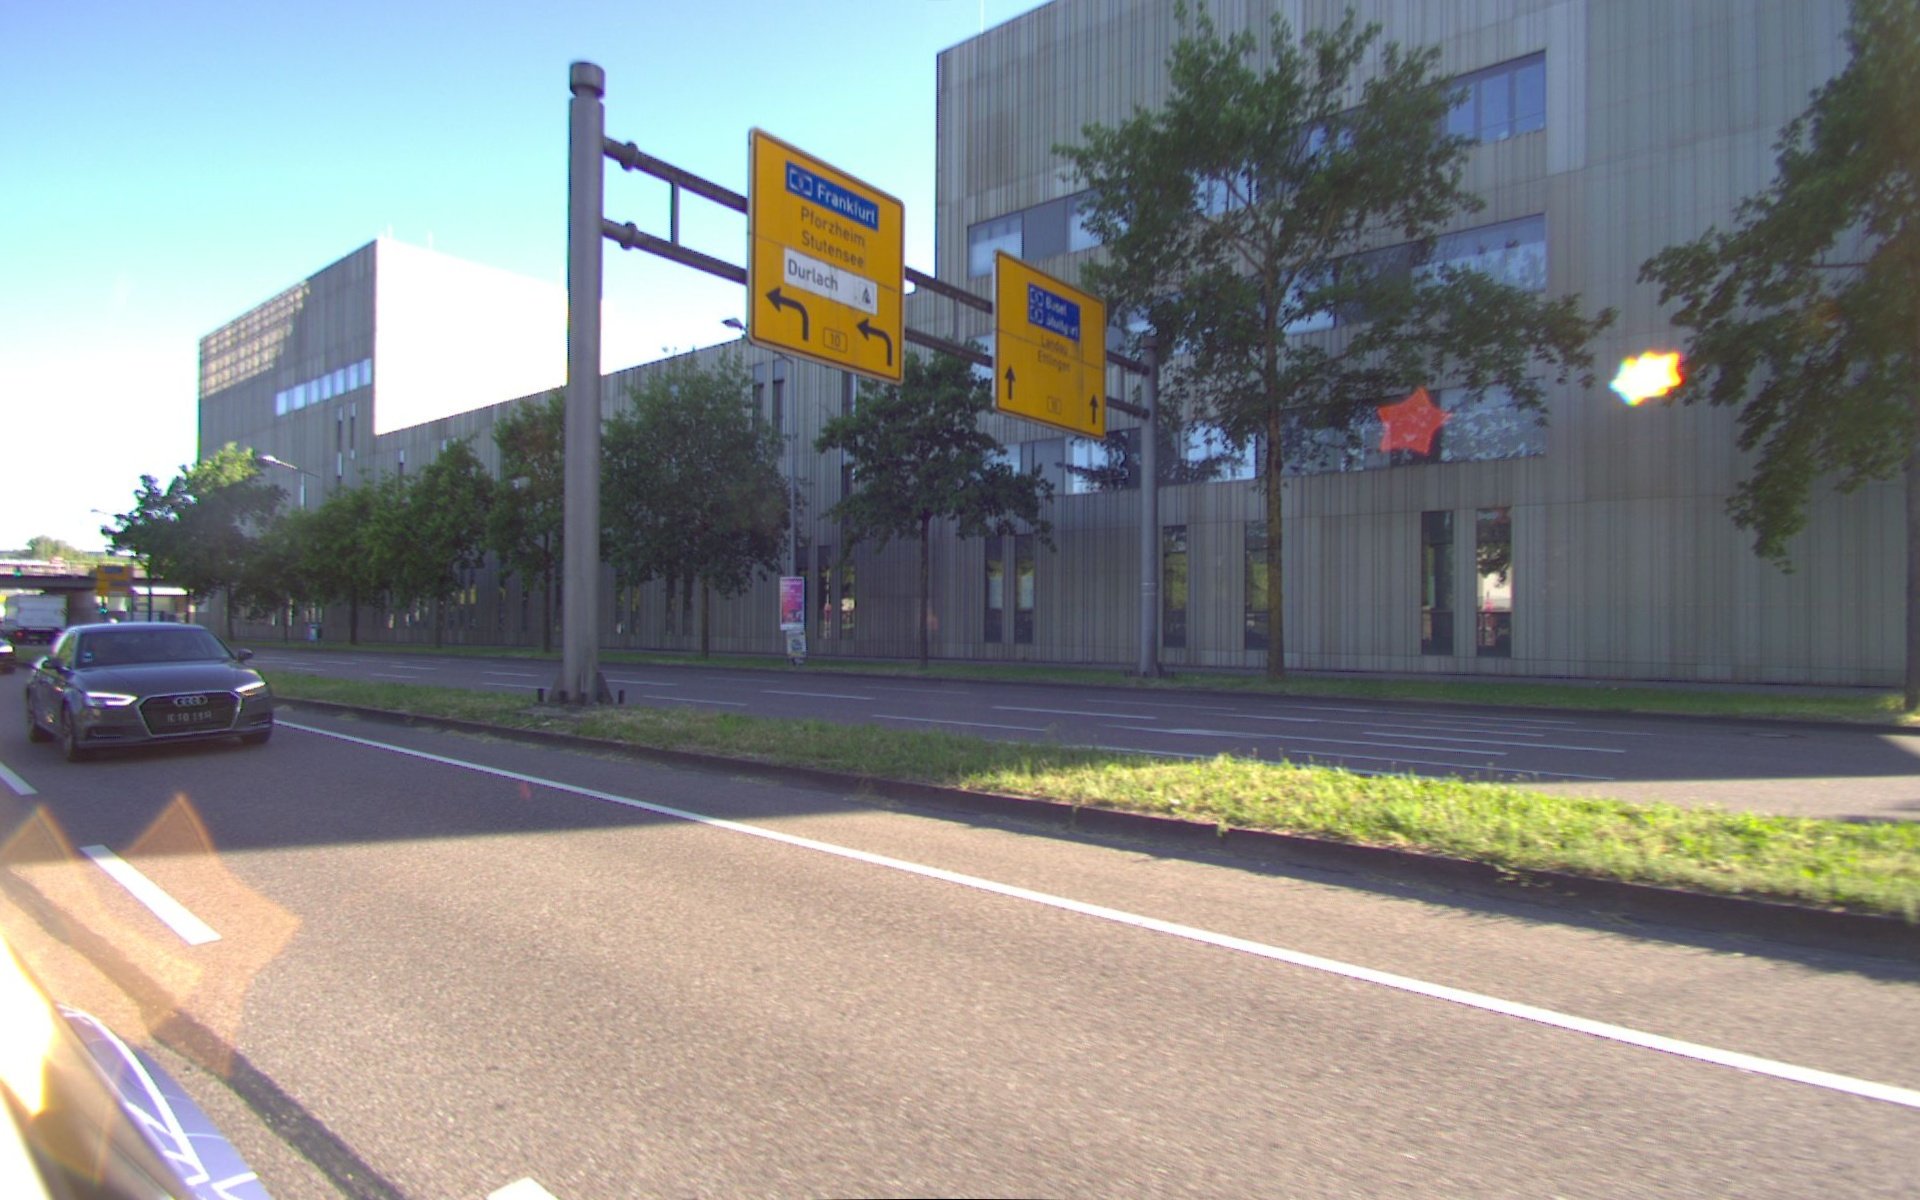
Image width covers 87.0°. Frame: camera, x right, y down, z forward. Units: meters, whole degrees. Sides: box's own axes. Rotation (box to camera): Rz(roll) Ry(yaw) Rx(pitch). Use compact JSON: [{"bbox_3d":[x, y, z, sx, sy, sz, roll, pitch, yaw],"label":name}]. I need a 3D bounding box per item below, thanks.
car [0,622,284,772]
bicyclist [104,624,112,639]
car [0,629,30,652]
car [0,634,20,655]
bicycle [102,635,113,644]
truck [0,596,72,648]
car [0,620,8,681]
[{"bbox_3d":[-9.549,0.971,11.684,4.360,1.415,1.681,-1,-1,39],"label":"car"},{"bbox_3d":[-86.640,3.209,102.904,0.752,1.453,0.502,-2,-2,38],"label":"bicyclist"},{"bbox_3d":[-63.627,2.698,67.427,3.995,1.435,1.817,-2,-3,39],"label":"car"},{"bbox_3d":[-67.750,3.125,71.416,3.636,1.481,1.604,-1,-3,40],"label":"car"},{"bbox_3d":[-86.642,4.013,102.885,1.752,0.897,0.507,-1,-2,38],"label":"bicycle"},{"bbox_3d":[-56.829,1.381,61.868,7.107,2.983,2.659,-1,-4,40],"label":"truck"},{"bbox_3d":[-26.573,1.325,26.646,3.942,1.549,1.681,-1,0,39],"label":"car"}]
